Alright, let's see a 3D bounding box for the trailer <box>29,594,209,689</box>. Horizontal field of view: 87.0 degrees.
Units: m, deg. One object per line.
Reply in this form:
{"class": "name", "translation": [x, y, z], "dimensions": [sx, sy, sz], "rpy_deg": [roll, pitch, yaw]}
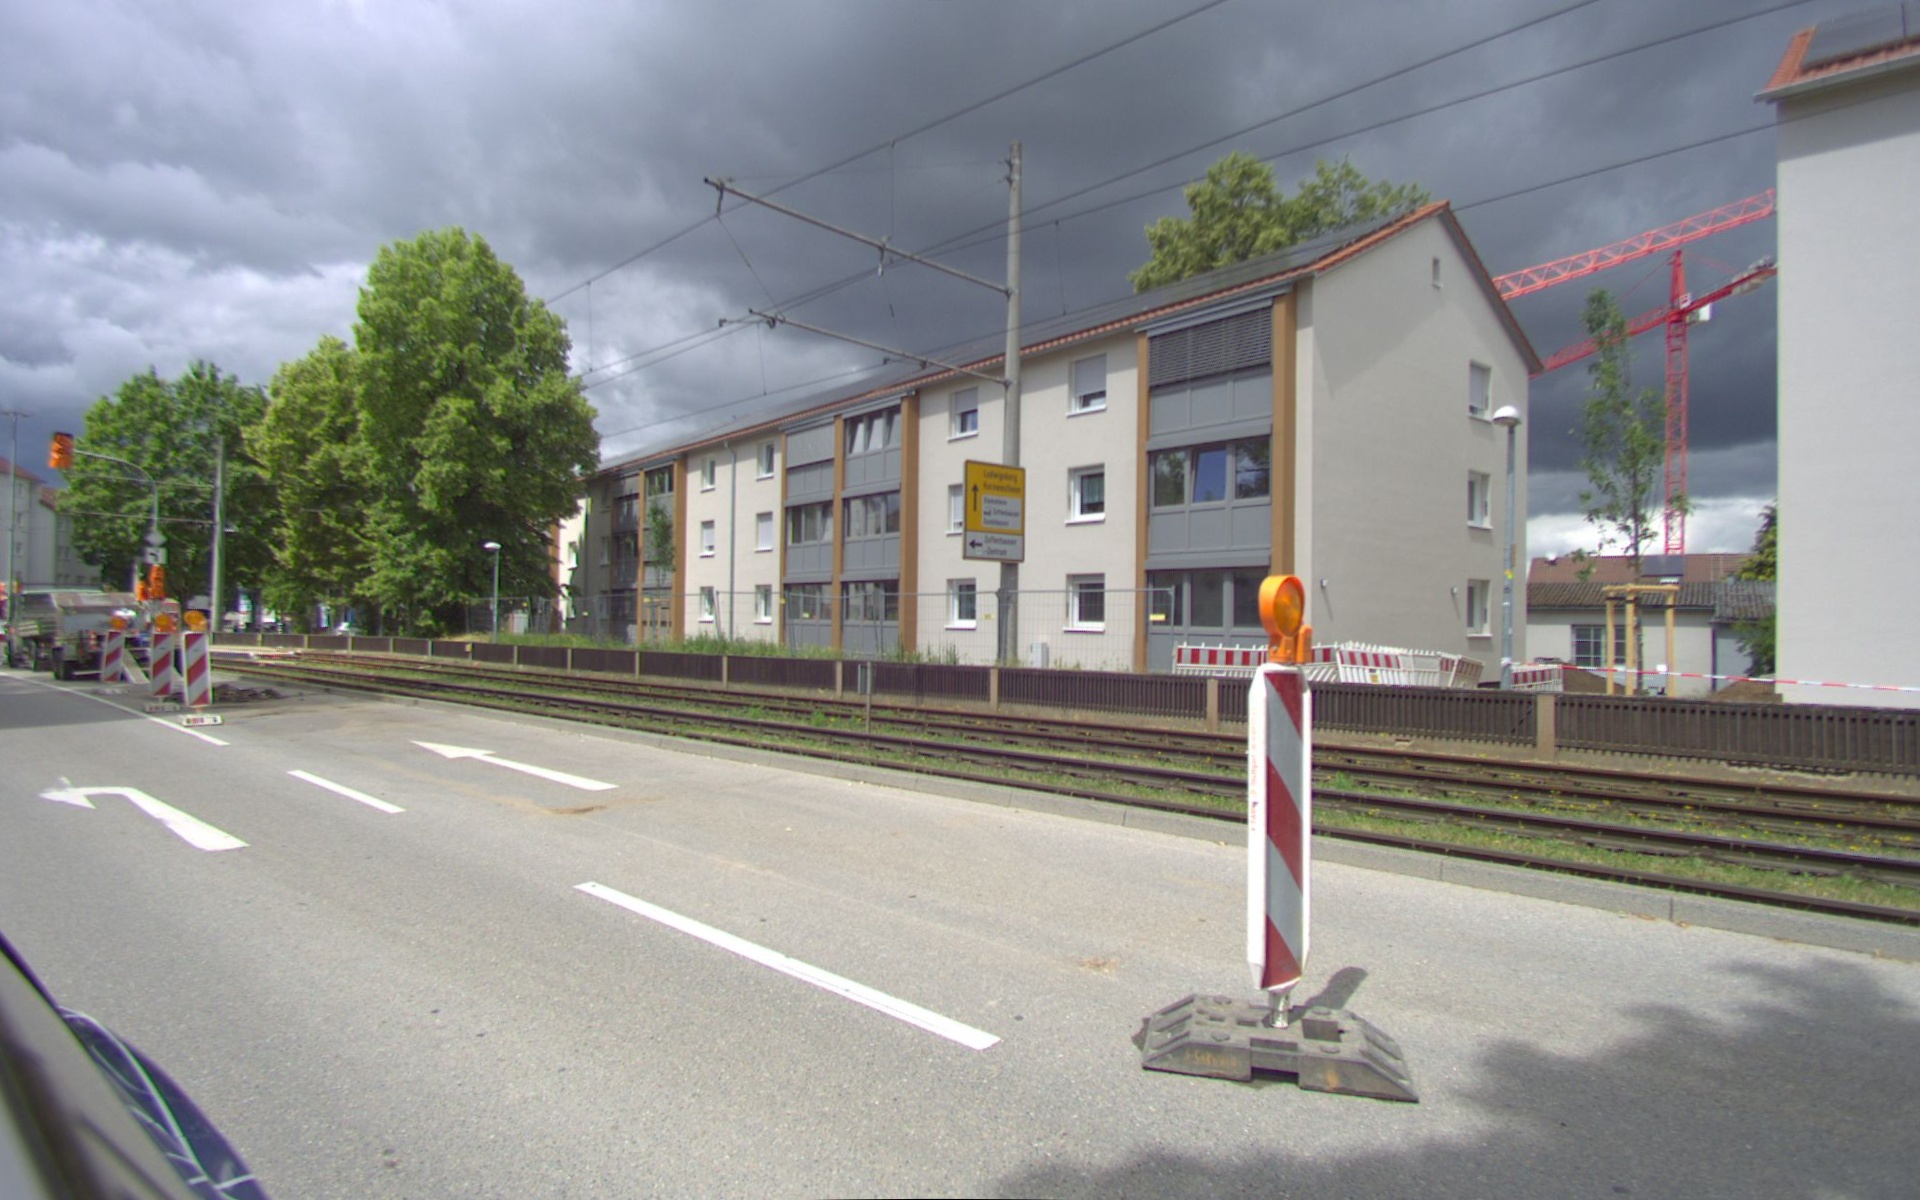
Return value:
{"class": "trailer", "translation": [-22.307, 1.001, 26.735], "dimensions": [6.243, 2.230, 2.635], "rpy_deg": [-1, -1, 40]}

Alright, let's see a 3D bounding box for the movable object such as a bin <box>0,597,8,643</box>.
{"class": "movable object such as a bin", "translation": [-56.927, 1.153, 57.279], "dimensions": [2.080, 2.689, 5.604], "rpy_deg": [1, -1, -16]}

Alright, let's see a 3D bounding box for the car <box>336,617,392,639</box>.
{"class": "car", "translation": [-40.810, 1.933, 69.342], "dimensions": [3.150, 1.466, 1.568], "rpy_deg": [2, -3, -35]}

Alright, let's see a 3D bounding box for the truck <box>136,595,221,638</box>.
{"class": "truck", "translation": [-49.538, 1.086, 64.313], "dimensions": [2.378, 2.588, 5.600], "rpy_deg": [1, -2, -17]}

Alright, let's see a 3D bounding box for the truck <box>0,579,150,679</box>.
{"class": "truck", "translation": [-27.091, 0.830, 30.838], "dimensions": [6.391, 2.746, 2.635], "rpy_deg": [-1, -1, 40]}

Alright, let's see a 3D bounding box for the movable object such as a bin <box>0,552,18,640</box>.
{"class": "movable object such as a bin", "translation": [-62.170, -0.384, 60.341], "dimensions": [2.787, 5.527, 9.017], "rpy_deg": [0, -2, 6]}
